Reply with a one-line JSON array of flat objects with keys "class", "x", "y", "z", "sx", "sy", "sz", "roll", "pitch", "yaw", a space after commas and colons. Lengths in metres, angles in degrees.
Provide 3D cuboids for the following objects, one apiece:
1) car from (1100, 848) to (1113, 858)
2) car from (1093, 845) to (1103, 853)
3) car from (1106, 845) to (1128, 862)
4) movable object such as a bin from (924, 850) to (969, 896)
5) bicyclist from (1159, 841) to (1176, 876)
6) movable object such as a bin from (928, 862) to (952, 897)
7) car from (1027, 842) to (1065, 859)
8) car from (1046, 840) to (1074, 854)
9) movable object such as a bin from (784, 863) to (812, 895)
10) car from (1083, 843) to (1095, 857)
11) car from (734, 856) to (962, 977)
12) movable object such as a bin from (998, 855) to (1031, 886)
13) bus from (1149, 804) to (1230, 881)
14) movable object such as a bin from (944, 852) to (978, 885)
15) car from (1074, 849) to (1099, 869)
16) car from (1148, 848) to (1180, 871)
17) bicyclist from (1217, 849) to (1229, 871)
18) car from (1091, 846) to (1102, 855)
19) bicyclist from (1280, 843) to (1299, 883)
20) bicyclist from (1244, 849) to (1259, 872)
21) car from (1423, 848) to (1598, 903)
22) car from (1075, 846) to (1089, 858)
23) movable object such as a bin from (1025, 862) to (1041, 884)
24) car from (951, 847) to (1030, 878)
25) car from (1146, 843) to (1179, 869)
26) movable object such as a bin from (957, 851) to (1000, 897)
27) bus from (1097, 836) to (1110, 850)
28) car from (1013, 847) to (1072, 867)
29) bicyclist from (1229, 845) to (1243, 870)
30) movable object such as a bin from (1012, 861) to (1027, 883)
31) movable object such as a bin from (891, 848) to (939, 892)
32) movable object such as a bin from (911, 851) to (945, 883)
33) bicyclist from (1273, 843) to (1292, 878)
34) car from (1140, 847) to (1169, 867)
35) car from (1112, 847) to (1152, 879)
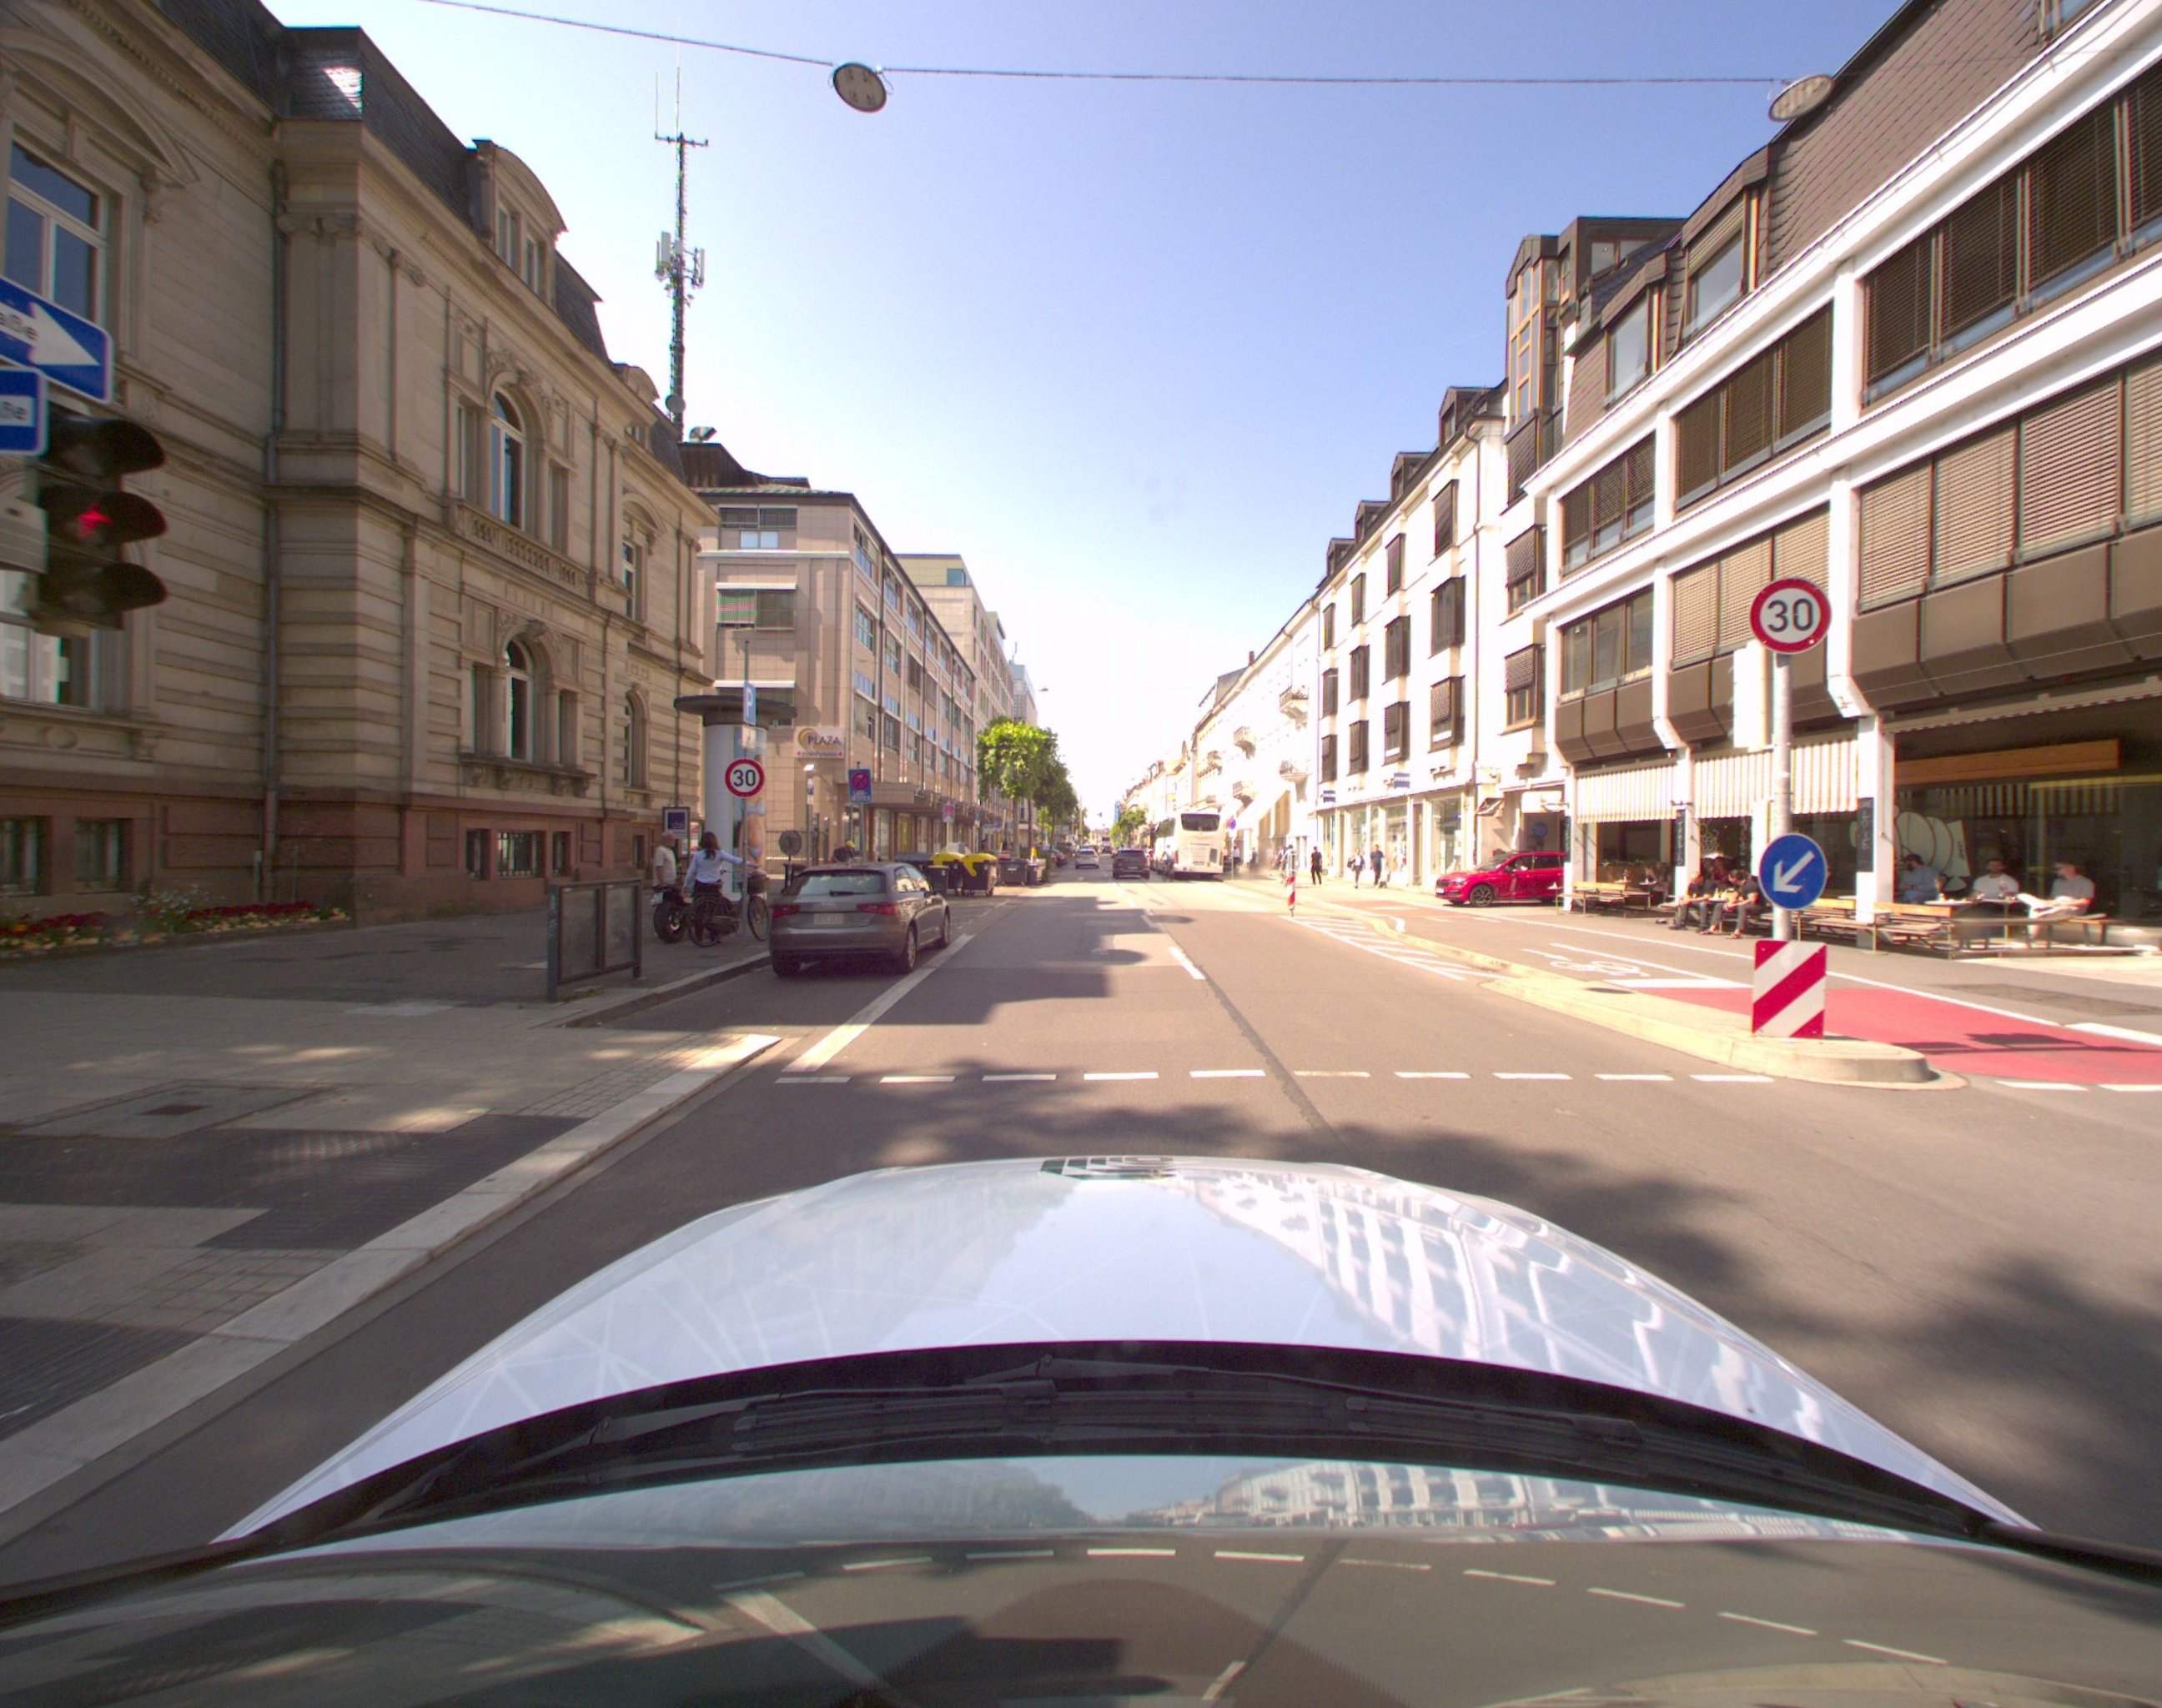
[{"class": "car", "x": 3.914, "y": -0.165, "z": 124.644, "sx": 1.857, "sy": 1.441, "sz": 4.000, "roll": 0, "pitch": 1, "yaw": 0}, {"class": "car", "x": 3.455, "y": -1.028, "z": 162.377, "sx": 1.857, "sy": 1.441, "sz": 3.999, "roll": -1, "pitch": -1, "yaw": 0}, {"class": "car", "x": 3.287, "y": -0.010, "z": 75.515, "sx": 1.827, "sy": 1.527, "sz": 3.999, "roll": -1, "pitch": -1, "yaw": 0}, {"class": "movable object such as a bin", "x": -4.609, "y": 0.630, "z": 28.036, "sx": 1.118, "sy": 1.450, "sz": 1.441, "roll": 2, "pitch": 1, "yaw": 6}, {"class": "bicyclist", "x": 4.194, "y": 0.210, "z": 39.477, "sx": 0.692, "sy": 1.673, "sz": 0.916, "roll": 3, "pitch": 1, "yaw": 1}, {"class": "movable object such as a bin", "x": -4.591, "y": 0.823, "z": 26.517, "sx": 0.722, "sy": 1.098, "sz": 0.655, "roll": 2, "pitch": 1, "yaw": -7}, {"class": "car", "x": -4.022, "y": -0.400, "z": 93.593, "sx": 3.952, "sy": 1.568, "sz": 1.709, "roll": 5, "pitch": 1, "yaw": 25}, {"class": "car", "x": -3.660, "y": -1.218, "z": 140.788, "sx": 4.665, "sy": 2.003, "sz": 1.953, "roll": 4, "pitch": 0, "yaw": 41}, {"class": "movable object such as a bin", "x": -8.004, "y": 0.705, "z": 23.064, "sx": 0.654, "sy": 0.876, "sz": 0.510, "roll": 0, "pitch": -2, "yaw": -7}, {"class": "car", "x": 1.189, "y": -0.639, "z": 123.256, "sx": 1.857, "sy": 2.030, "sz": 3.999, "roll": 1, "pitch": -1, "yaw": 0}, {"class": "car", "x": -3.069, "y": 0.750, "z": 11.760, "sx": 1.929, "sy": 1.354, "sz": 4.252, "roll": 0, "pitch": 1, "yaw": 2}, {"class": "movable object such as a bin", "x": -2.818, "y": 0.681, "z": 34.649, "sx": 1.273, "sy": 1.299, "sz": 0.853, "roll": 1, "pitch": 0, "yaw": 0}, {"class": "bus", "x": 5.986, "y": -0.641, "z": 47.325, "sx": 2.872, "sy": 3.741, "sz": 12.423, "roll": 2, "pitch": 1, "yaw": 0}, {"class": "movable object such as a bin", "x": -5.082, "y": 0.605, "z": 34.478, "sx": 1.205, "sy": 1.299, "sz": 1.080, "roll": 2, "pitch": 2, "yaw": 0}, {"class": "car", "x": 0.446, "y": 0.347, "z": 61.689, "sx": 1.856, "sy": 1.441, "sz": 4.001, "roll": 1, "pitch": 1, "yaw": 1}, {"class": "car", "x": 5.850, "y": 0.383, "z": 57.712, "sx": 1.852, "sy": 1.469, "sz": 5.227, "roll": 2, "pitch": 1, "yaw": 1}, {"class": "bicyclist", "x": 8.679, "y": 0.359, "z": 49.820, "sx": 0.618, "sy": 1.370, "sz": 0.780, "roll": 1, "pitch": 0, "yaw": -1}, {"class": "car", "x": 2.685, "y": -0.583, "z": 142.848, "sx": 1.857, "sy": 1.441, "sz": 3.999, "roll": -1, "pitch": -1, "yaw": 0}, {"class": "bicyclist", "x": 8.682, "y": 0.371, "z": 33.985, "sx": 0.690, "sy": 1.625, "sz": 0.838, "roll": 0, "pitch": 0, "yaw": 9}, {"class": "bicyclist", "x": 9.708, "y": 0.379, "z": 46.428, "sx": 0.618, "sy": 1.296, "sz": 0.866, "roll": 1, "pitch": 0, "yaw": -1}, {"class": "car", "x": 12.218, "y": 0.627, "z": 23.370, "sx": 4.029, "sy": 1.495, "sz": 1.842, "roll": 0, "pitch": -2, "yaw": 2}, {"class": "car", "x": 0.165, "y": -0.299, "z": 100.200, "sx": 1.737, "sy": 1.441, "sz": 4.000, "roll": 0, "pitch": 1, "yaw": 0}, {"class": "movable object such as a bin", "x": -2.130, "y": 0.841, "z": 36.181, "sx": 0.556, "sy": 0.939, "sz": 0.496, "roll": -2, "pitch": 1, "yaw": -26}, {"class": "car", "x": -4.849, "y": 0.415, "z": 43.298, "sx": 4.007, "sy": 1.494, "sz": 1.947, "roll": 2, "pitch": 2, "yaw": 41}, {"class": "car", "x": 6.294, "y": 0.091, "z": 63.249, "sx": 1.823, "sy": 1.863, "sz": 4.350, "roll": 2, "pitch": 1, "yaw": -3}, {"class": "movable object such as a bin", "x": -3.491, "y": 0.657, "z": 27.929, "sx": 1.118, "sy": 1.450, "sz": 1.441, "roll": 2, "pitch": 1, "yaw": 6}, {"class": "bus", "x": 5.885, "y": -2.846, "z": 215.532, "sx": 2.763, "sy": 3.605, "sz": 8.966, "roll": 0, "pitch": 1, "yaw": -2}, {"class": "car", "x": -3.126, "y": 0.225, "z": 65.856, "sx": 4.737, "sy": 1.422, "sz": 1.895, "roll": 3, "pitch": 2, "yaw": 40}, {"class": "bicyclist", "x": 8.680, "y": 0.188, "z": 45.746, "sx": 0.618, "sy": 1.370, "sz": 0.780, "roll": 1, "pitch": 0, "yaw": -1}, {"class": "movable object such as a bin", "x": -2.710, "y": 0.805, "z": 35.934, "sx": 0.495, "sy": 0.939, "sz": 0.558, "roll": -1, "pitch": 1, "yaw": 17}, {"class": "movable object such as a bin", "x": -5.748, "y": 0.533, "z": 28.271, "sx": 1.203, "sy": 1.450, "sz": 1.366, "roll": 2, "pitch": 1, "yaw": 6}, {"class": "movable object such as a bin", "x": -6.473, "y": 0.538, "z": 34.519, "sx": 1.204, "sy": 1.299, "sz": 1.128, "roll": 2, "pitch": 1, "yaw": 0}, {"class": "bicyclist", "x": 9.114, "y": 0.283, "z": 36.854, "sx": 0.618, "sy": 1.529, "sz": 0.869, "roll": 1, "pitch": 0, "yaw": -1}, {"class": "car", "x": 6.152, "y": 0.217, "z": 68.709, "sx": 1.808, "sy": 1.466, "sz": 4.577, "roll": 2, "pitch": 2, "yaw": -2}, {"class": "car", "x": 2.597, "y": 0.444, "z": 42.365, "sx": 1.827, "sy": 1.527, "sz": 4.000, "roll": 1, "pitch": 0, "yaw": 0}]
